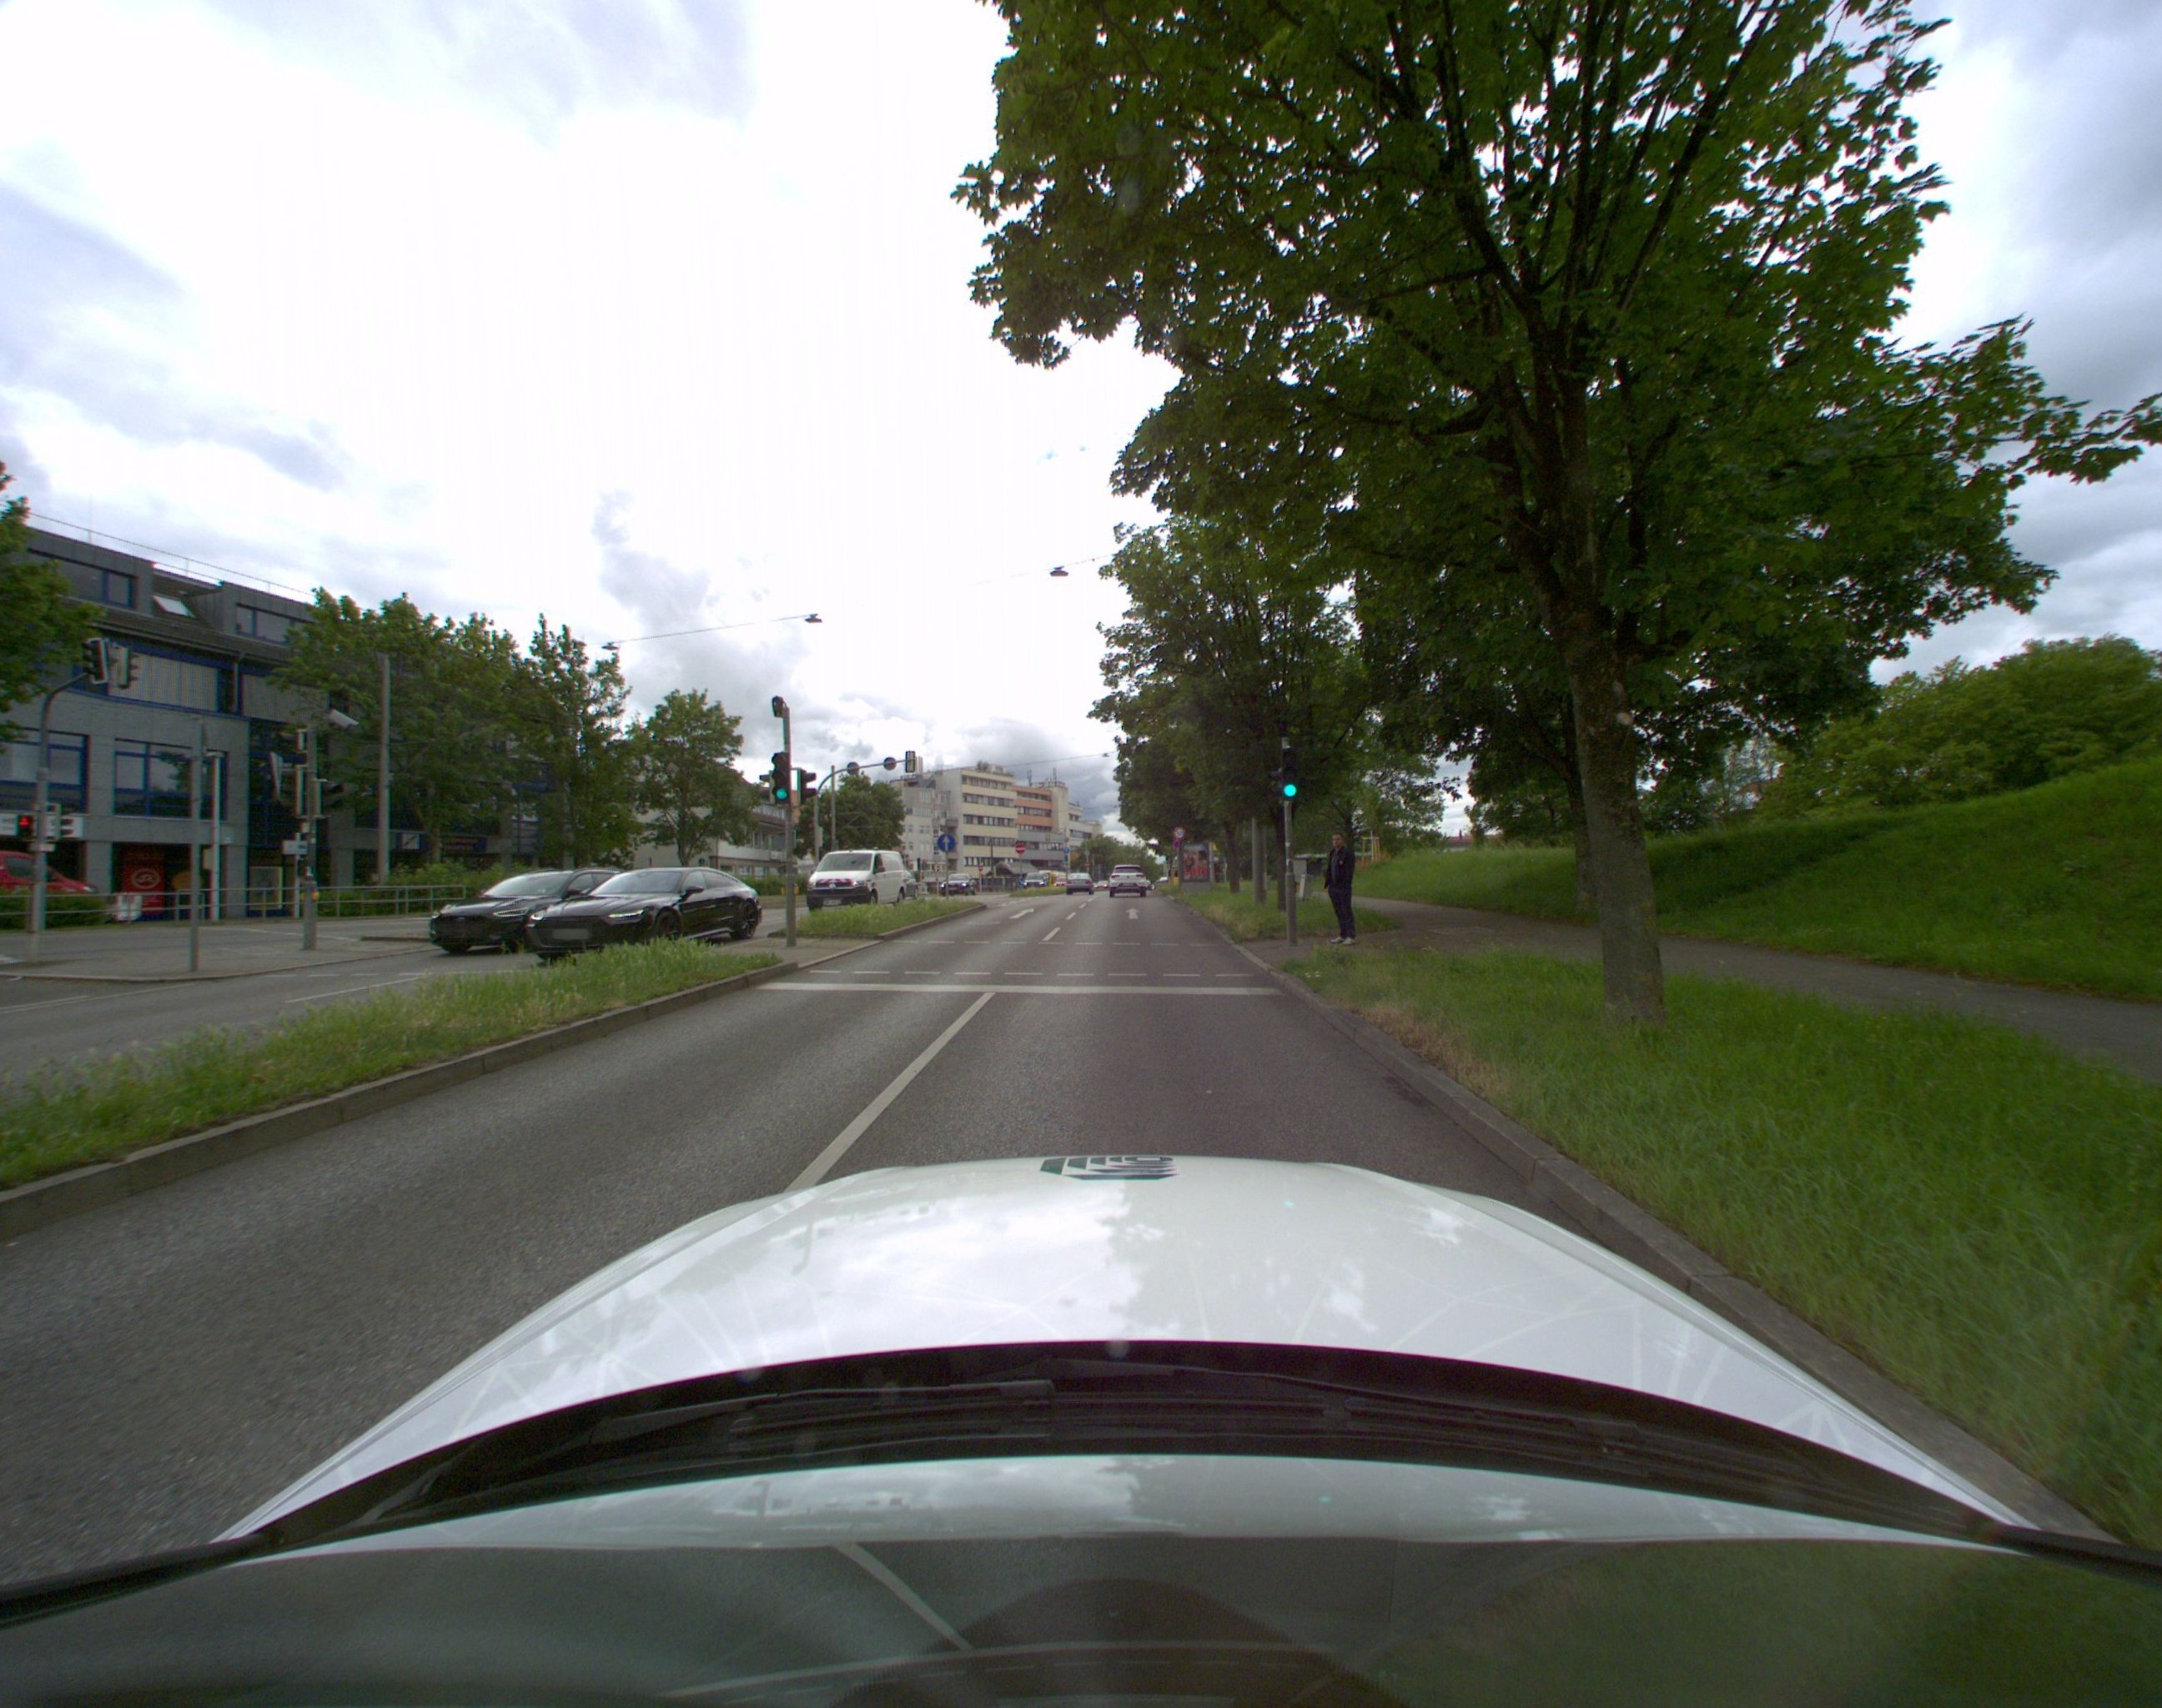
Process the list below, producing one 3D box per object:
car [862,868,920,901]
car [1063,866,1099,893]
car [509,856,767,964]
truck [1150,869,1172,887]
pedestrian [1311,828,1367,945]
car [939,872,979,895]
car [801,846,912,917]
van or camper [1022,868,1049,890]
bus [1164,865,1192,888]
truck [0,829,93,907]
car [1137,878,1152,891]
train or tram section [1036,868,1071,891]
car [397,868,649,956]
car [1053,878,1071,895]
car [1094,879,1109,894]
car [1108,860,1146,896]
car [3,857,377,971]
[{"bbox_3d":[-9.065,1.431,39.184,1.738,1.464,4.000,-3,-1,1],"label":"car"},{"bbox_3d":[0.035,1.592,52.523,1.689,1.516,3.747,-1,1,10],"label":"car"},{"bbox_3d":[-7.316,0.822,14.082,1.770,1.481,4.485,-2,0,3],"label":"car"},{"bbox_3d":[19.511,5.786,197.693,2.933,4.080,16.659,-1,-2,13],"label":"truck"},{"bbox_3d":[4.251,0.520,13.447,0.641,1.856,0.672,-1,0,-3],"label":"pedestrian"},{"bbox_3d":[-8.160,1.945,54.734,1.853,1.428,4.004,-1,-1,3],"label":"car"},{"bbox_3d":[-6.900,0.784,25.621,1.828,2.002,4.862,-1,0,4],"label":"car"},{"bbox_3d":[-4.039,2.243,73.012,1.919,1.938,5.250,0,-2,2],"label":"van or camper"},{"bbox_3d":[14.253,3.374,119.082,2.934,3.191,9.960,-1,-2,12],"label":"bus"},{"bbox_3d":[-34.045,0.434,25.181,1.976,2.387,4.021,0,1,22],"label":"truck"},{"bbox_3d":[8.703,4.155,112.331,1.764,1.570,4.285,-2,0,0],"label":"car"},{"bbox_3d":[-4.246,4.190,129.888,2.543,3.411,13.120,-2,-3,11],"label":"train or tram section"},{"bbox_3d":[-10.303,1.002,15.465,1.775,1.379,3.958,-1,0,6],"label":"car"},{"bbox_3d":[-2.455,4.278,107.714,1.985,2.013,4.839,0,1,4],"label":"car"},{"bbox_3d":[2.970,4.741,117.740,1.985,1.589,4.841,0,4,4],"label":"car"},{"bbox_3d":[2.307,1.148,40.222,1.691,1.548,3.742,2,1,6],"label":"car"},{"bbox_3d":[-14.549,0.862,13.563,1.759,1.544,4.025,-1,0,40],"label":"car"}]
